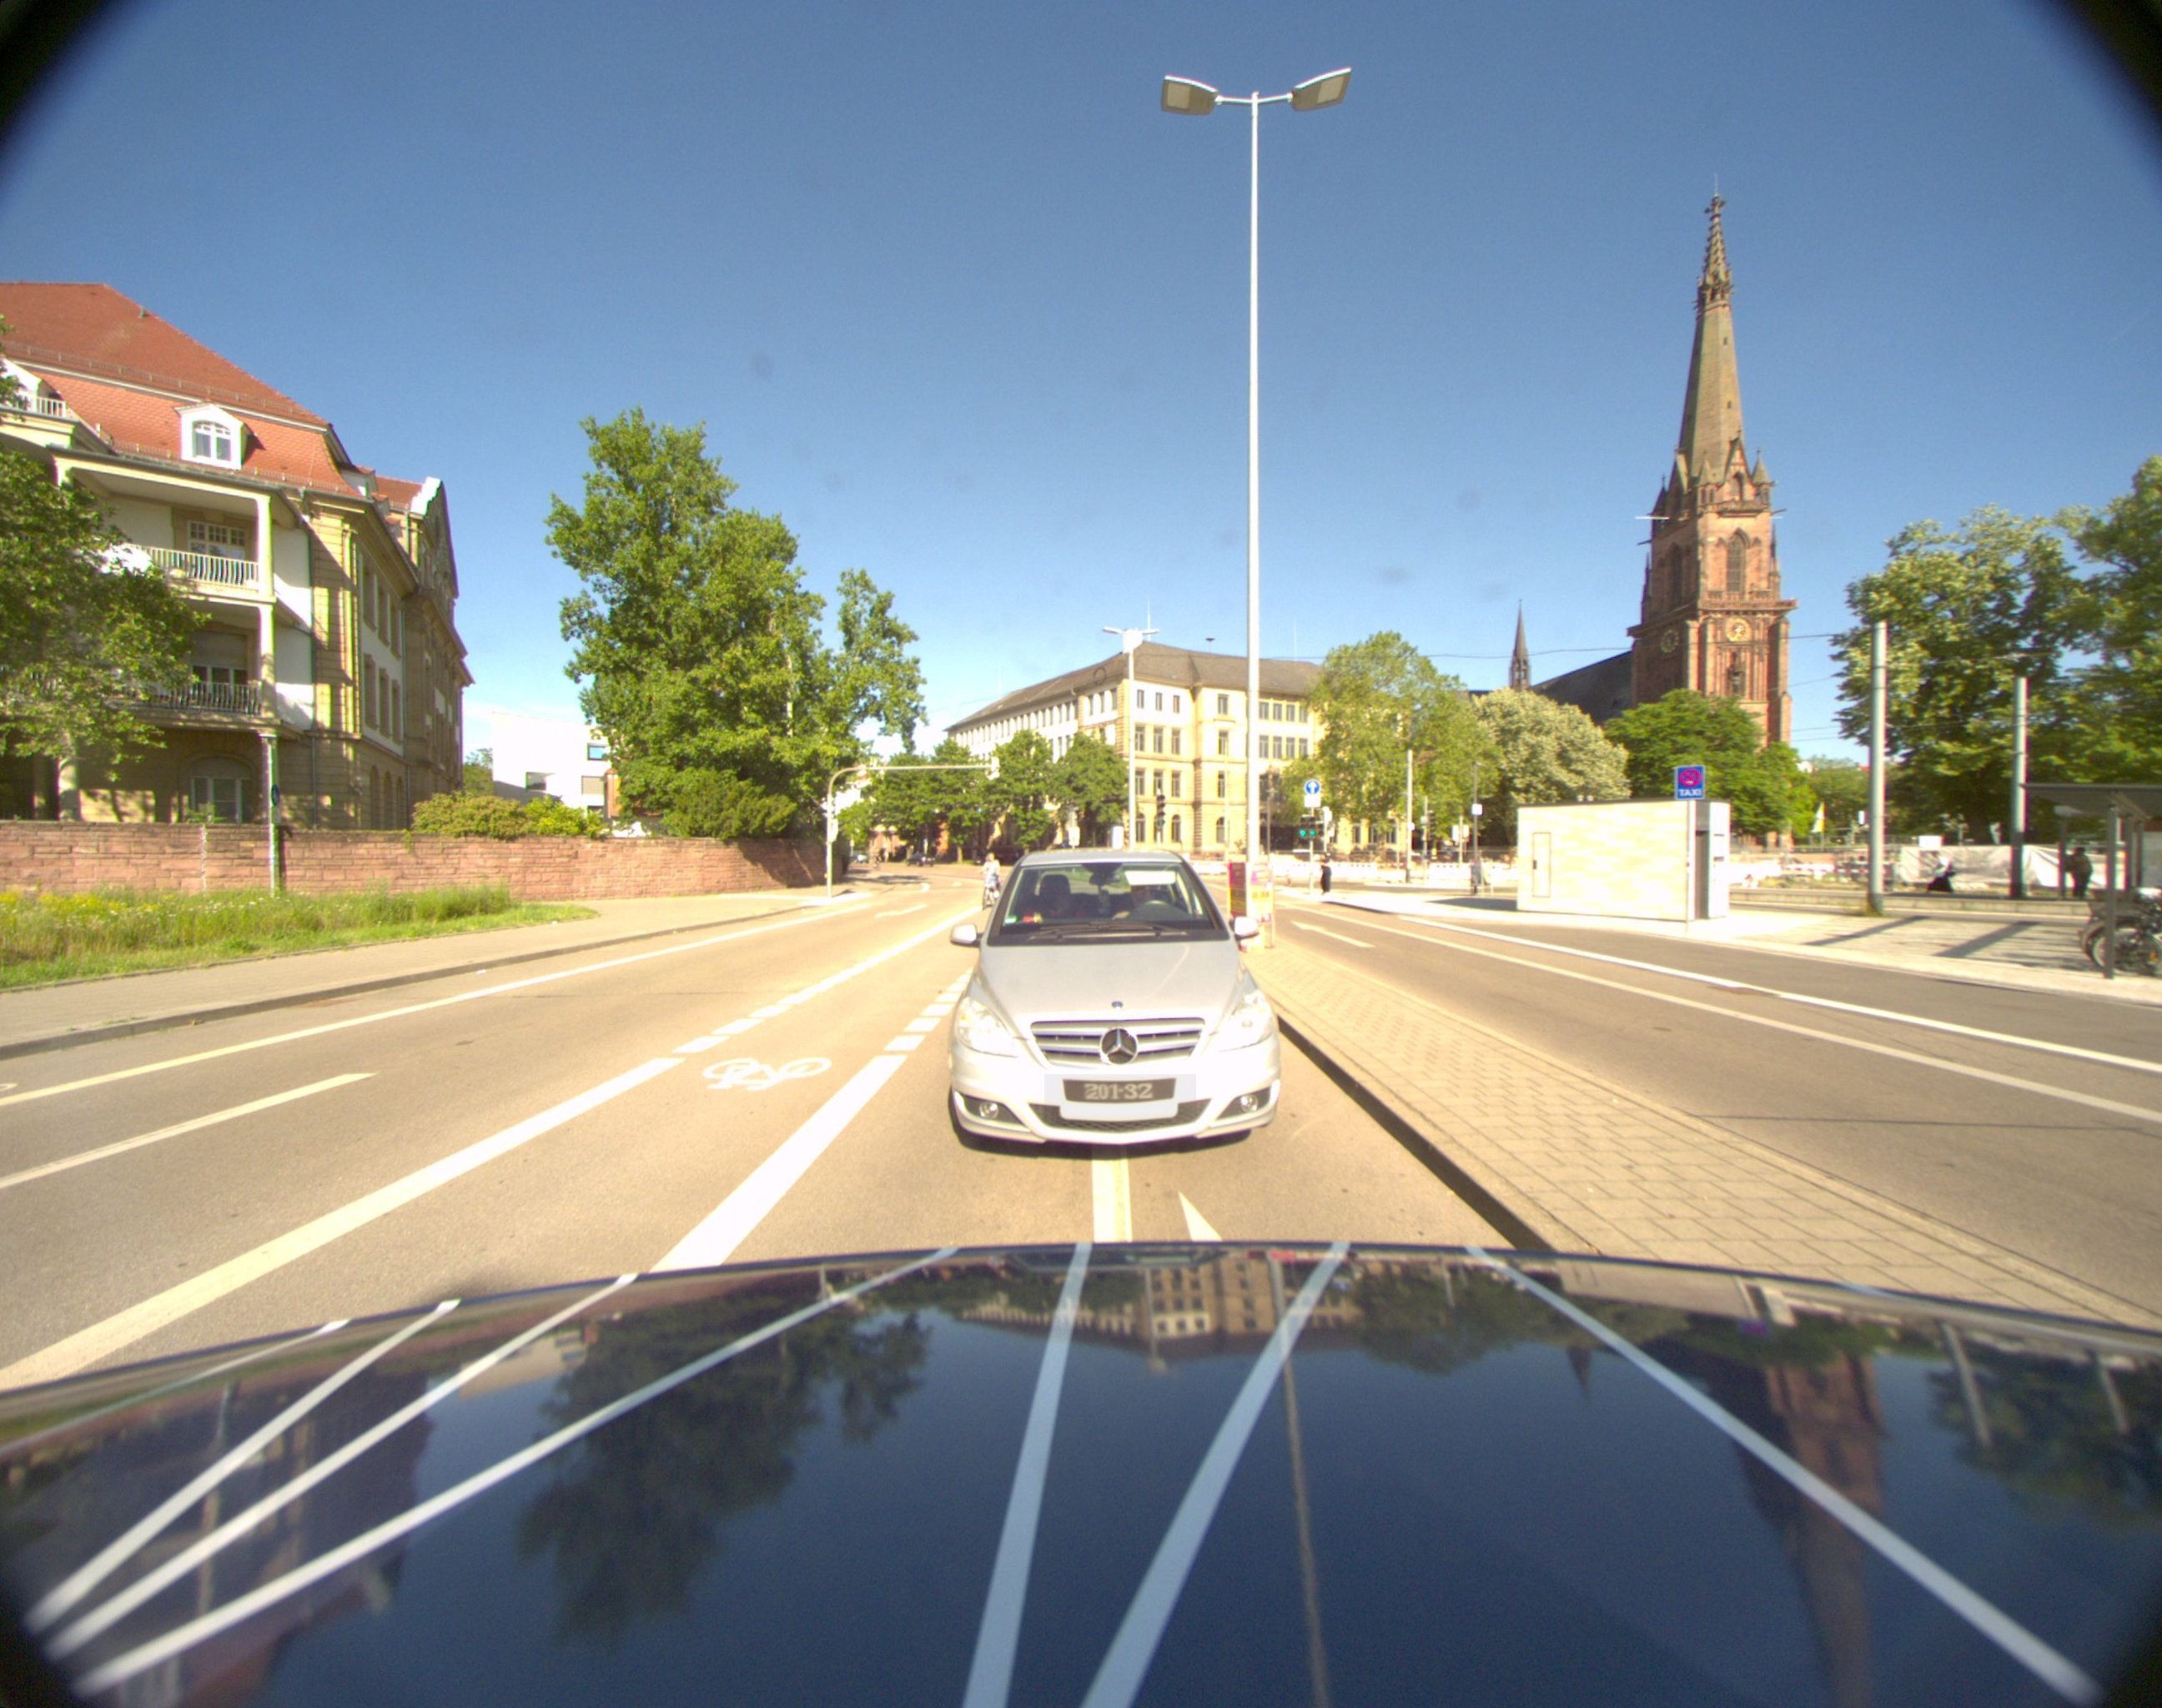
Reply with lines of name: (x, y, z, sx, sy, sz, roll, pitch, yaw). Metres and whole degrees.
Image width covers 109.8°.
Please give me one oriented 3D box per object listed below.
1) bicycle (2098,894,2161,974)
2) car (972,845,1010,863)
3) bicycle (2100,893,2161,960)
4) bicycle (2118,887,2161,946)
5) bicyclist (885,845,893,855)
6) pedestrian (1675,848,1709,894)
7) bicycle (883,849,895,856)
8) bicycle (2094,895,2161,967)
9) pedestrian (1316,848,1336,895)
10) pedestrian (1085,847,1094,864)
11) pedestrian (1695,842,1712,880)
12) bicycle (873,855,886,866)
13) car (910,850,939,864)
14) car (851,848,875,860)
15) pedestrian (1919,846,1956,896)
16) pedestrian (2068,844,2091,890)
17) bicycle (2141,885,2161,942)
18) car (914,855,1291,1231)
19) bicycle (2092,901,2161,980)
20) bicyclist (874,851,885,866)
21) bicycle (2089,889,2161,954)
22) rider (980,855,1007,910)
bicycle: (15.195, 1.123, 10.284, 0.458, 1.055, 1.667, -1, 1, -33)
car: (-10.735, -0.033, 90.764, 1.994, 2.002, 4.721, 0, 1, 32)
bicycle: (17.254, 1.147, 11.659, 0.458, 1.003, 1.899, -1, 1, -33)
bicycle: (19.121, 1.098, 12.952, 0.458, 1.003, 1.667, -1, 1, -33)
bicyclist: (-26.575, -0.520, 105.125, 0.893, 1.377, 0.735, 1, 1, 44)
pedestrian: (23.727, 0.645, 29.491, 0.980, 1.769, 0.801, -1, 1, -37)
bicycle: (-26.540, -0.179, 105.114, 1.830, 0.985, 0.735, 0, 1, 44)
bicycle: (16.067, 1.146, 10.980, 0.458, 1.003, 1.667, -1, 1, -33)
pedestrian: (9.556, 0.672, 29.678, 0.693, 1.844, 0.679, 0, 1, 13)
pedestrian: (0.842, 0.183, 77.116, 0.677, 1.714, 0.588, -1, 1, -22)
pedestrian: (35.125, 0.397, 42.860, 0.571, 2.142, 0.549, -1, 1, -25)
bicycle: (-18.775, 0.632, 70.887, 0.711, 1.000, 1.753, -1, 1, 1)
car: (-17.719, 0.348, 85.940, 1.798, 1.490, 4.563, 1, 1, -32)
car: (-29.894, 0.019, 104.082, 1.865, 1.533, 4.229, 1, 1, -35)
pedestrian: (31.028, 0.608, 27.532, 0.980, 1.769, 0.801, -1, 1, -37)
pedestrian: (37.565, 0.498, 28.582, 0.404, 1.711, 0.419, 1, 1, 38)
bicycle: (19.888, 1.075, 13.204, 0.458, 1.003, 1.667, -1, 1, -33)
car: (0.072, 0.872, 5.464, 1.706, 1.657, 3.913, -1, 1, -1)
bicycle: (14.693, 1.170, 9.969, 0.458, 1.003, 1.667, -1, 1, -33)
bicyclist: (-18.773, 0.429, 70.804, 0.711, 1.309, 0.777, -1, 1, 1)
bicycle: (17.908, 1.126, 12.432, 0.458, 1.003, 1.667, -1, 1, -33)
rider: (-2.657, 0.851, 23.160, 0.658, 1.610, 0.989, -1, 1, 1)
